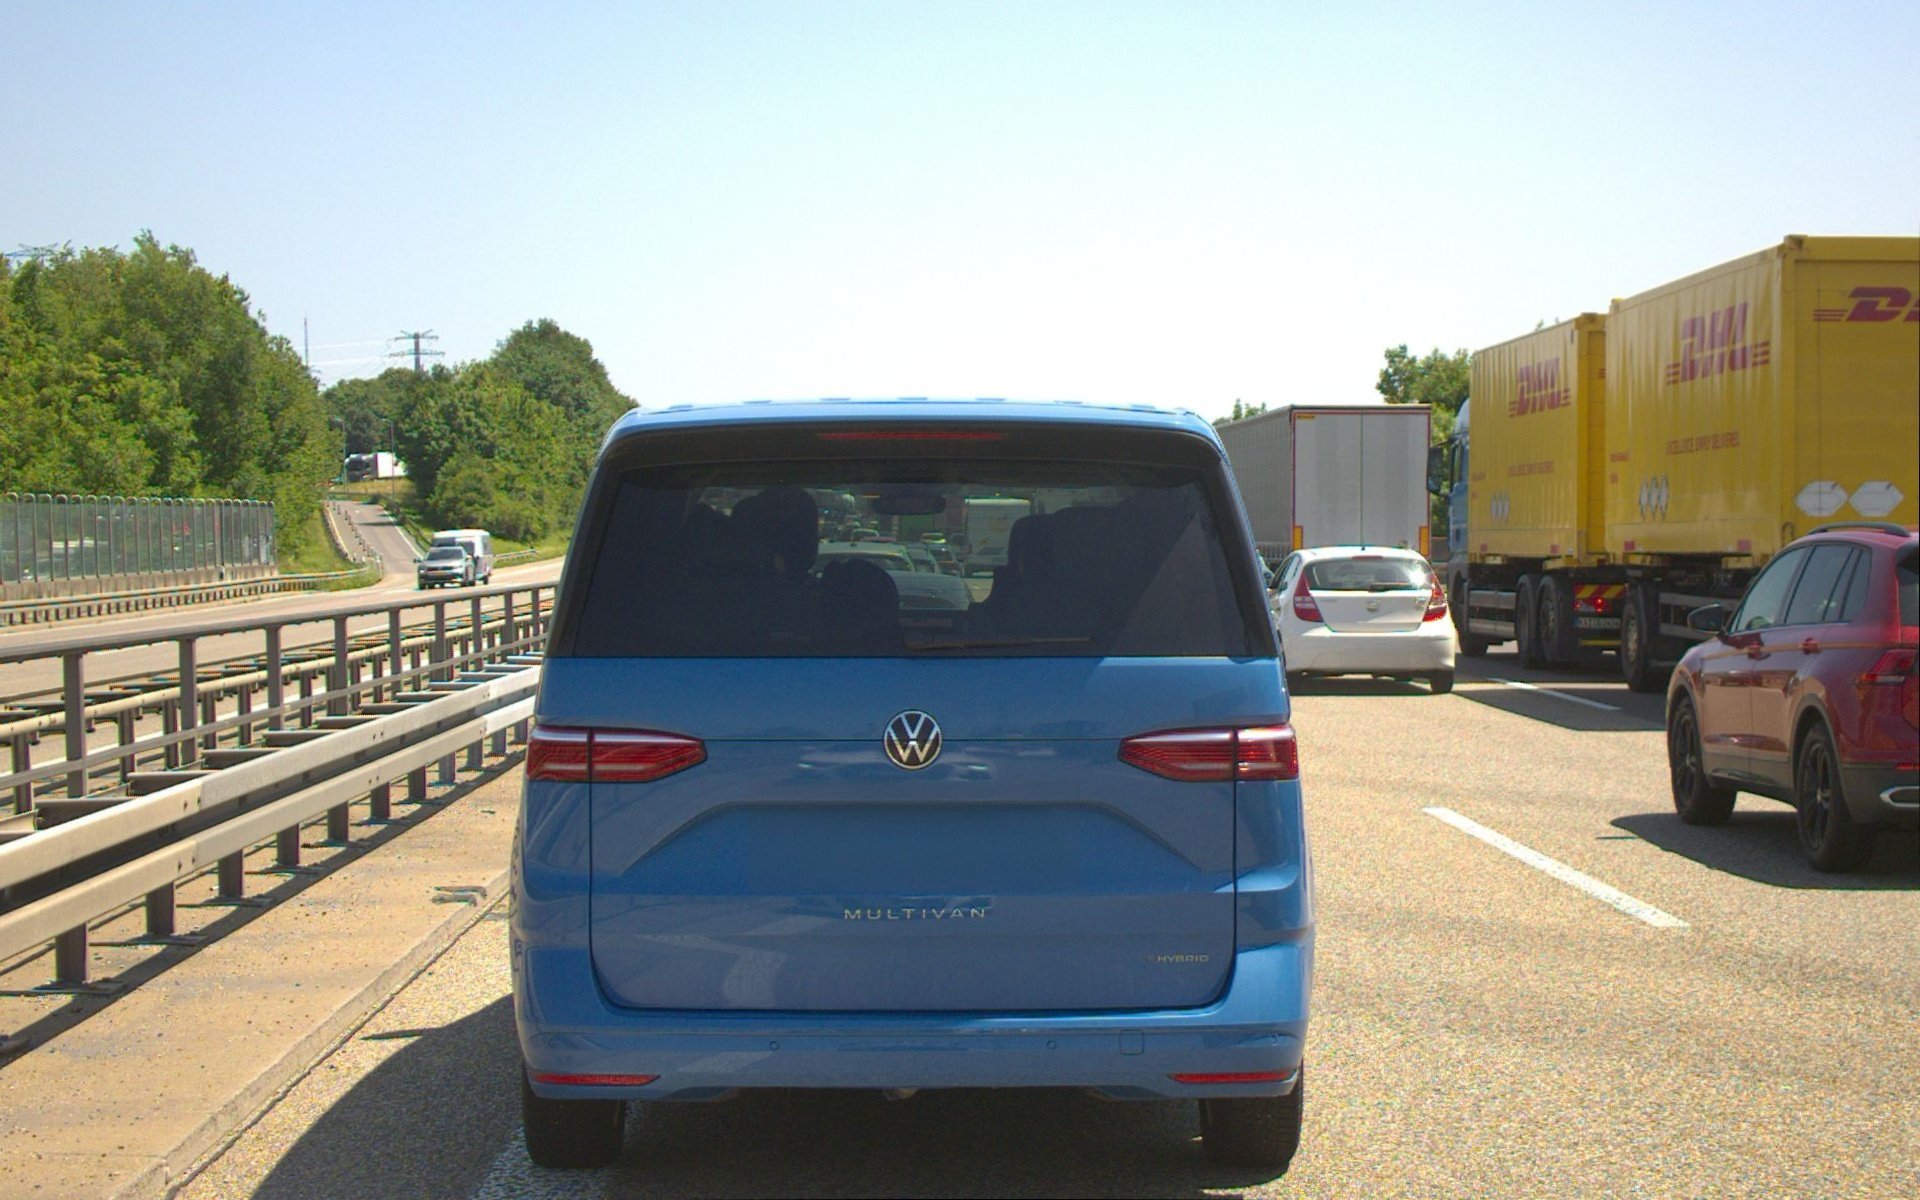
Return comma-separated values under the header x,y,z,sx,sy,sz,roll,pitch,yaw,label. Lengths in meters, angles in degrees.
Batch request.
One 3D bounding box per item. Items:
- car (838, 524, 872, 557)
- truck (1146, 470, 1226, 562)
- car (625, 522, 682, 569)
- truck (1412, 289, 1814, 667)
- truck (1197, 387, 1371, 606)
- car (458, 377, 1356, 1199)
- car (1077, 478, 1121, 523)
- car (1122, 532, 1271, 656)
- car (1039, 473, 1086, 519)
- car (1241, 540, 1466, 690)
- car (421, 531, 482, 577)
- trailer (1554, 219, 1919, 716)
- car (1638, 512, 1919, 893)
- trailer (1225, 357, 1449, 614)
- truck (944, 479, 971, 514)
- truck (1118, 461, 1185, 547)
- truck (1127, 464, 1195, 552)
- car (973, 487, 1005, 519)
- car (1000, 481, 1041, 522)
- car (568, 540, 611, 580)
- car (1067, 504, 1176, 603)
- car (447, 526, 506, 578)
x,y,z,sx,sy,sz,roll,pitch,yaw,label
-6.424,-3.631,210.406,1.993,2.007,4.000,1,0,-1,car
6.172,-2.272,94.273,1.798,2.441,4.504,1,0,-1,truck
-11.654,-2.050,130.833,1.842,1.745,3.943,1,0,-1,car
7.740,-1.375,42.296,2.699,4.074,9.941,1,1,-2,truck
7.135,-2.229,76.812,3.026,4.595,7.921,1,0,-1,truck
-0.148,0.442,9.461,1.930,1.867,4.000,1,0,-1,car
5.671,-4.040,140.603,1.597,1.745,3.943,1,0,-1,car
3.328,-0.103,49.051,1.815,1.673,3.932,1,1,0,car
4.751,-4.803,159.203,1.993,2.007,4.000,1,0,-1,car
4.049,0.132,35.941,1.815,1.465,3.932,1,1,-1,car
-19.694,-1.764,133.265,1.842,1.745,3.943,1,0,-1,car
7.965,-1.124,32.786,2.682,4.074,8.981,1,0,-2,trailer
4.752,0.411,17.227,1.708,1.673,4.285,0,1,-2,car
7.210,-2.117,67.364,3.026,4.595,10.925,1,1,-1,trailer
-0.190,-7.803,259.387,1.993,2.576,4.553,1,0,-1,truck
5.990,-2.989,108.053,1.797,2.587,4.306,1,0,-1,truck
6.005,-2.732,103.111,1.742,2.540,4.210,1,0,-1,truck
1.927,-6.405,227.086,1.993,2.007,4.000,1,0,-1,car
3.116,-5.091,177.980,1.993,2.007,4.000,1,0,-1,car
-19.456,-2.088,180.763,1.842,2.035,3.943,1,0,-1,car
3.247,-0.943,69.775,1.962,1.929,3.932,1,0,-1,car
-19.410,-1.911,138.231,1.842,2.035,3.943,1,0,-1,car
